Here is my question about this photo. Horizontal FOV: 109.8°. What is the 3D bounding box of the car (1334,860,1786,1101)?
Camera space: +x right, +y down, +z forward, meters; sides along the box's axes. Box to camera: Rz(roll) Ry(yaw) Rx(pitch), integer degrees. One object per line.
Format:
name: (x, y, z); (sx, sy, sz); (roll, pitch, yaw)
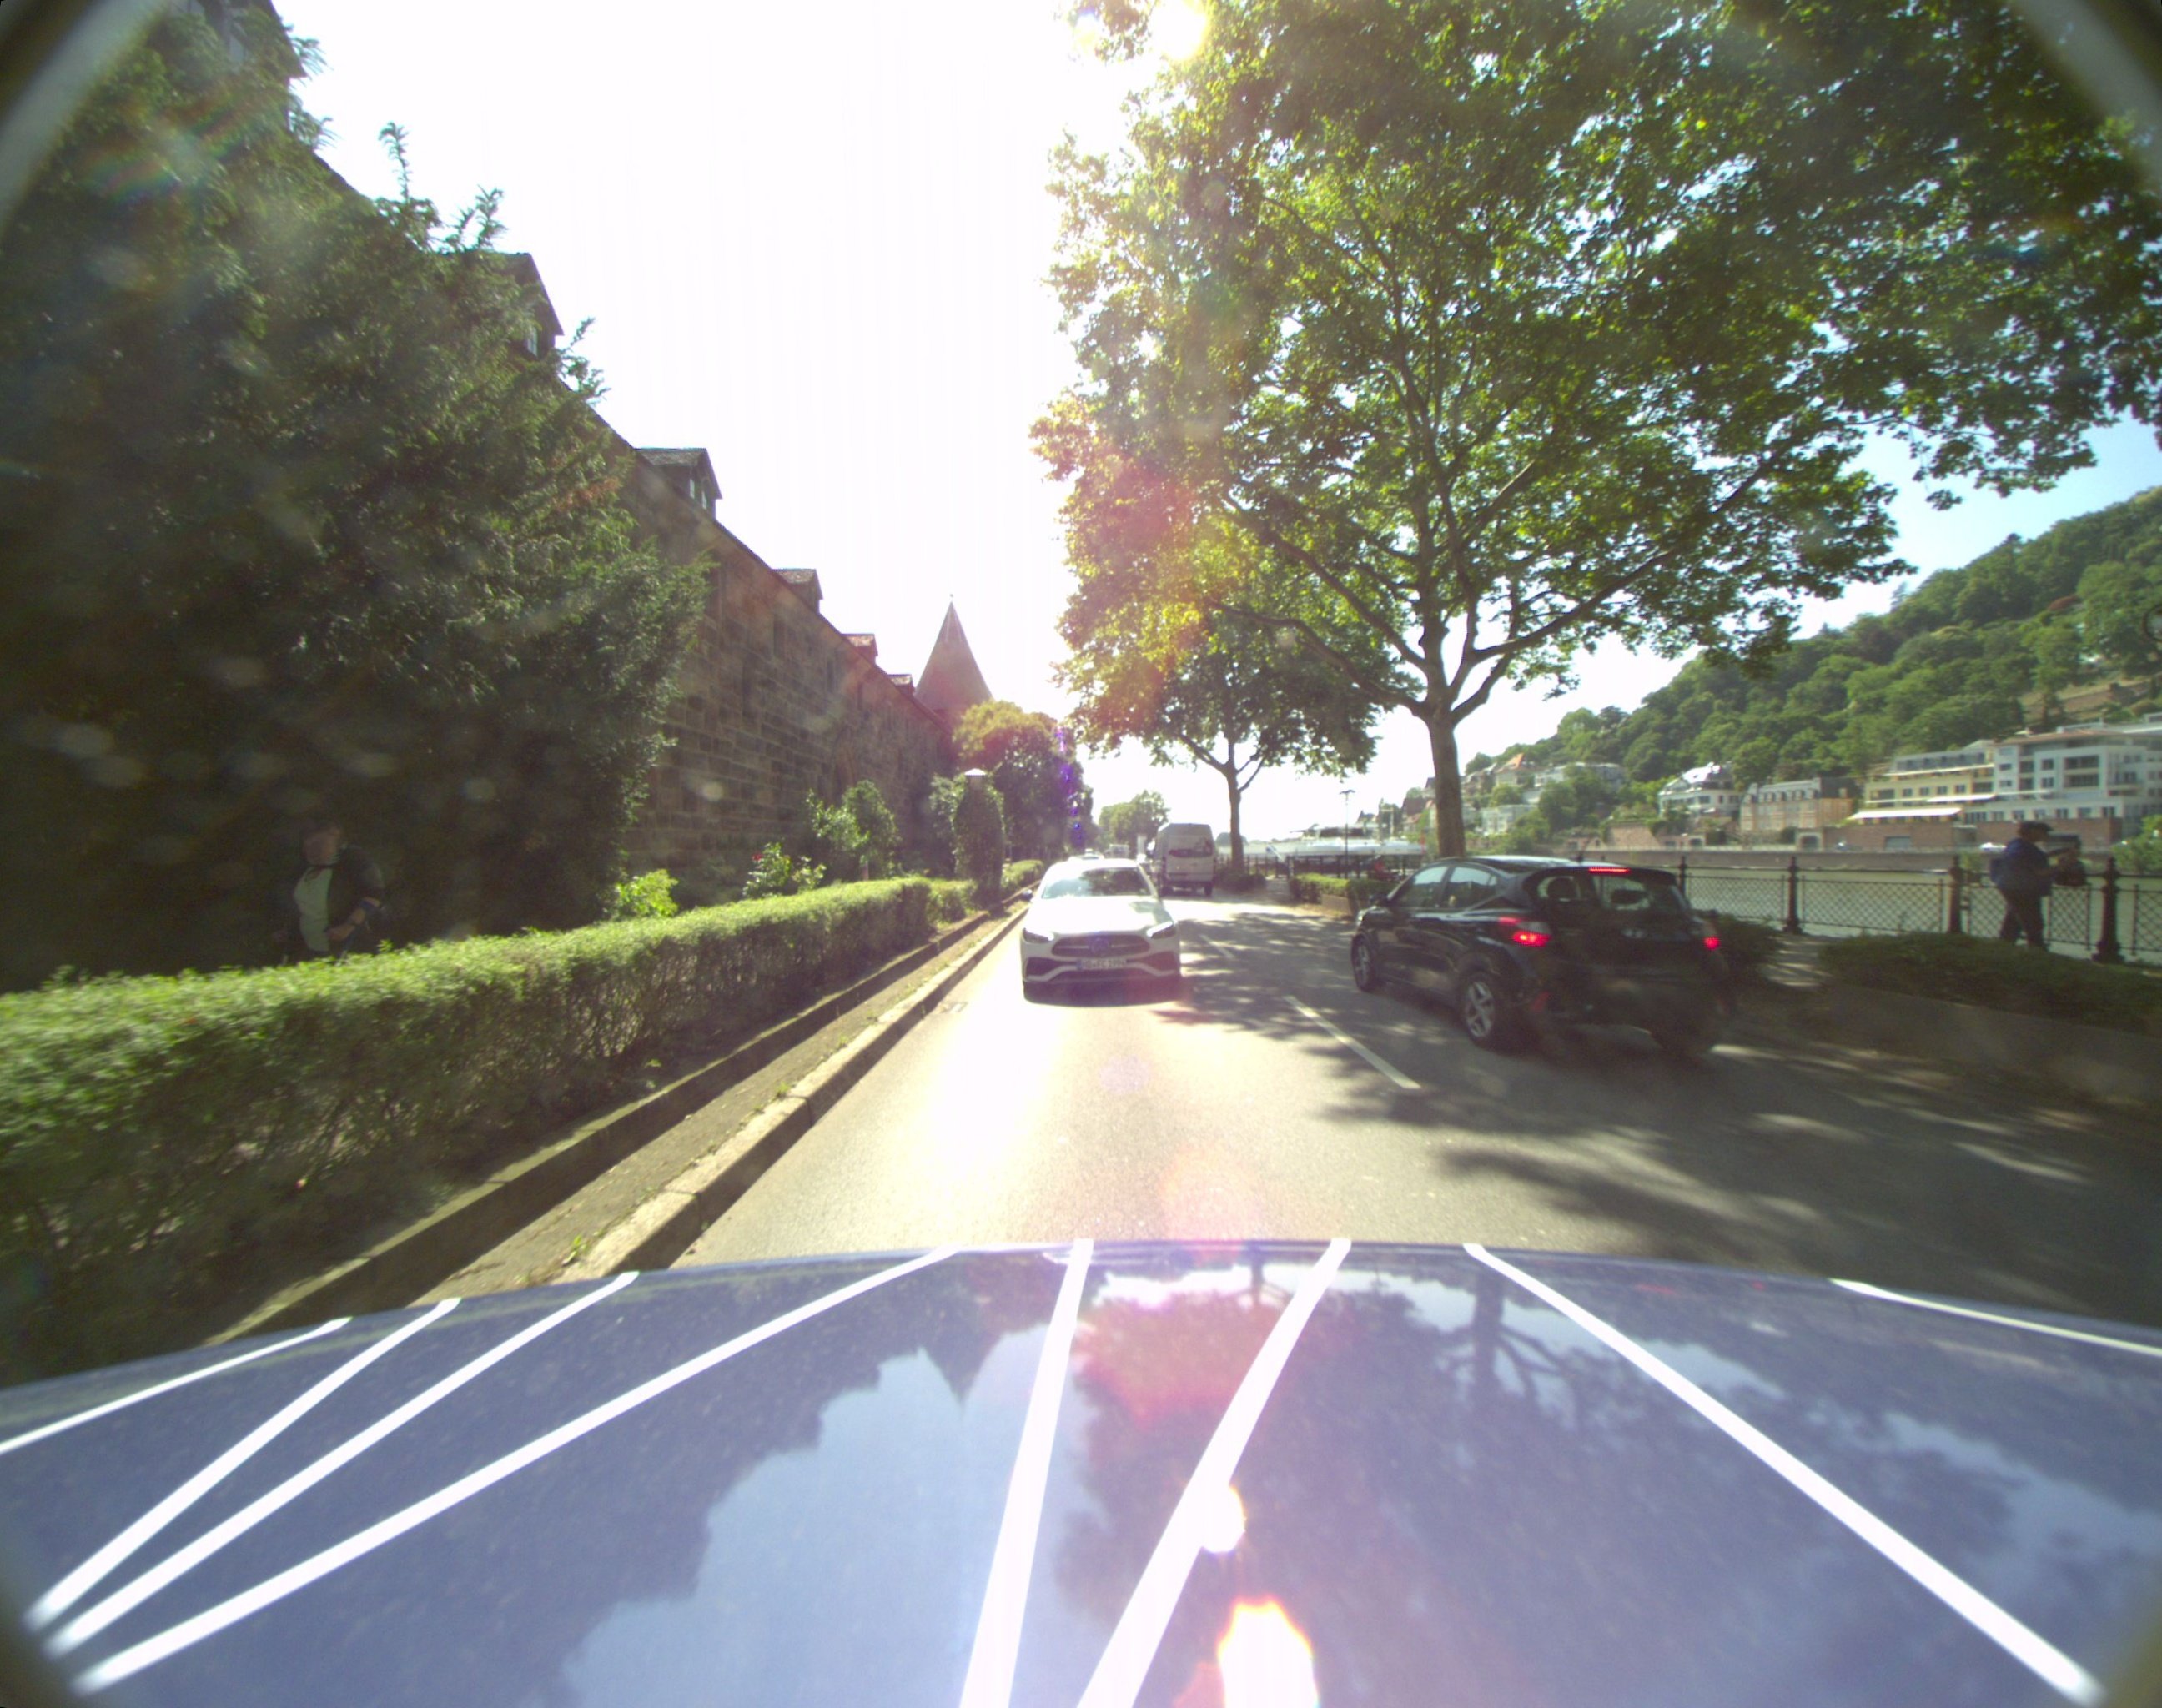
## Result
car: (3.744, 0.842, 6.835); (1.653, 1.461, 3.778); (0, 1, 0)

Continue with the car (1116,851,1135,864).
car: (5.007, 0.358, 85.755); (1.703, 1.204, 3.484); (5, 1, -3)

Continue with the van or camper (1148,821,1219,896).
van or camper: (3.852, 0.132, 29.493); (1.965, 2.552, 5.840); (2, 1, 1)

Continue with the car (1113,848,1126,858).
car: (6.104, -0.169, 121.042); (1.826, 1.603, 3.960); (1, 1, 1)

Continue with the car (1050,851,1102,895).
car: (-0.141, 0.670, 28.802); (1.854, 1.543, 3.848); (1, 1, 1)

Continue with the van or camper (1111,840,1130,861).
van or camper: (5.342, -0.526, 103.048); (2.328, 2.647, 6.263); (1, 1, 0)

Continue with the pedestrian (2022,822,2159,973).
pedestrian: (12.417, 0.515, 9.372); (0.705, 1.787, 0.705); (-1, 1, 3)

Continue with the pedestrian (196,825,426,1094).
pedestrian: (-5.060, 0.652, 5.043); (0.700, 1.643, 0.705); (-3, 1, 3)

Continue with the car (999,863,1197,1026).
car: (0.191, 0.888, 9.349); (1.829, 1.418, 4.358); (-2, 0, 1)

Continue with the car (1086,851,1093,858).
car: (2.251, 0.079, 207.108); (1.923, 1.976, 3.999); (1, 1, 0)

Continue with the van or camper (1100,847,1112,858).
van or camper: (4.615, -0.348, 140.305); (1.923, 1.976, 3.999); (1, 1, 0)

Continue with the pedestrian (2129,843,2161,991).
pedestrian: (11.952, 0.675, 8.039); (0.705, 1.594, 0.705); (-1, 1, 3)

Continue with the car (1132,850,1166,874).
car: (4.333, 0.500, 49.324); (1.774, 1.448, 4.533); (1, 0, 0)

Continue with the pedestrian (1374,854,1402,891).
pedestrian: (10.828, 0.649, 26.803); (0.704, 1.300, 0.656); (1, 1, 1)

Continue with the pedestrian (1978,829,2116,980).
pedestrian: (11.412, 0.571, 9.004); (0.705, 1.721, 0.705); (-1, 1, 3)
